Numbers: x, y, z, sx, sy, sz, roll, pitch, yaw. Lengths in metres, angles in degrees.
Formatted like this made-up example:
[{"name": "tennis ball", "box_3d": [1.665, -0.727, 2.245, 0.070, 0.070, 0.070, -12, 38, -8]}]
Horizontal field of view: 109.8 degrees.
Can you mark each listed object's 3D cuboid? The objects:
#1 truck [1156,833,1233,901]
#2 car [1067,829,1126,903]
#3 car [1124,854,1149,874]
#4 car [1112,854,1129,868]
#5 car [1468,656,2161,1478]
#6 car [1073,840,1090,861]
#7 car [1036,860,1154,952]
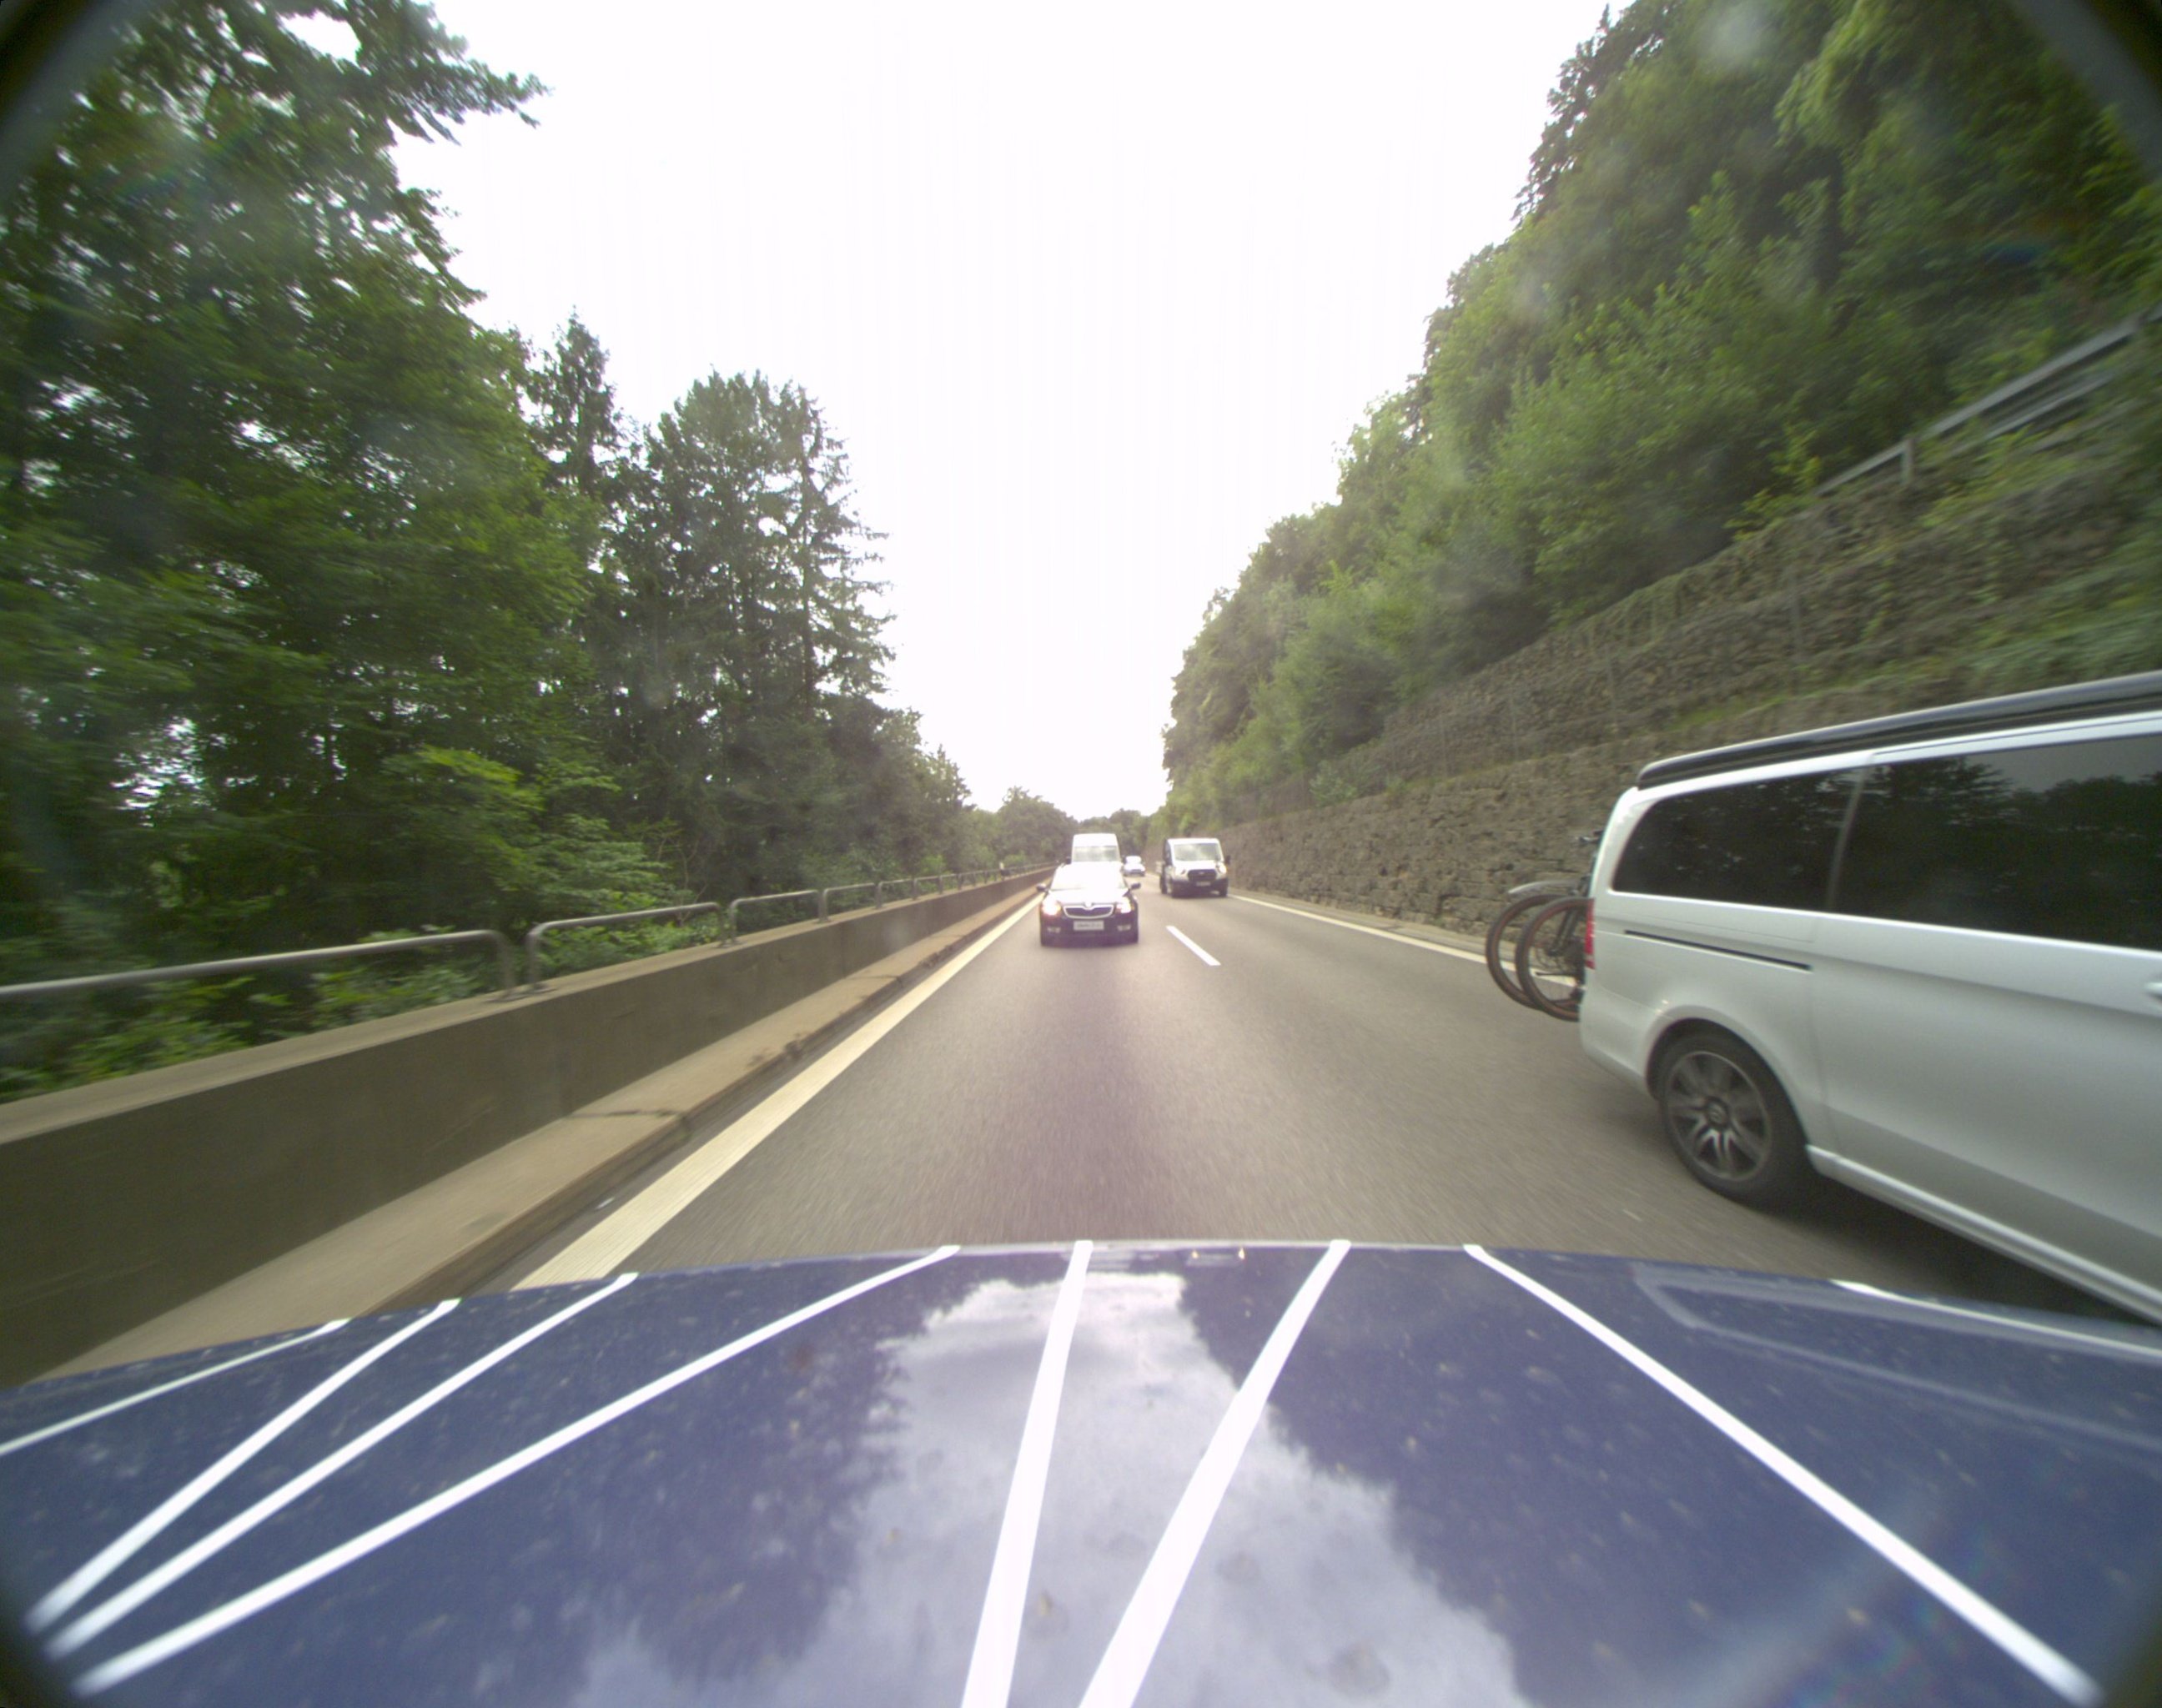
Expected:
[{"name": "truck", "box_3d": [4.280, 0.451, 29.856, 1.998, 2.266, 6.585, -3, 0, 0]}, {"name": "car", "box_3d": [0.694, 0.392, 29.614, 1.998, 2.550, 5.919, -1, 1, 3]}, {"name": "car", "box_3d": [4.591, 0.824, 63.429, 1.711, 1.568, 4.602, -3, 0, 1]}, {"name": "car", "box_3d": [4.589, 0.819, 88.706, 1.711, 1.568, 4.602, -3, 0, 1]}, {"name": "car", "box_3d": [3.524, 0.470, 1.828, 1.998, 1.941, 6.147, -3, 0, 0]}, {"name": "car", "box_3d": [0.065, -0.465, 91.556, 1.998, 2.396, 4.000, -2, 0, 1]}, {"name": "car", "box_3d": [0.185, 0.899, 15.579, 1.913, 1.391, 5.696, -3, 0, -1]}]
